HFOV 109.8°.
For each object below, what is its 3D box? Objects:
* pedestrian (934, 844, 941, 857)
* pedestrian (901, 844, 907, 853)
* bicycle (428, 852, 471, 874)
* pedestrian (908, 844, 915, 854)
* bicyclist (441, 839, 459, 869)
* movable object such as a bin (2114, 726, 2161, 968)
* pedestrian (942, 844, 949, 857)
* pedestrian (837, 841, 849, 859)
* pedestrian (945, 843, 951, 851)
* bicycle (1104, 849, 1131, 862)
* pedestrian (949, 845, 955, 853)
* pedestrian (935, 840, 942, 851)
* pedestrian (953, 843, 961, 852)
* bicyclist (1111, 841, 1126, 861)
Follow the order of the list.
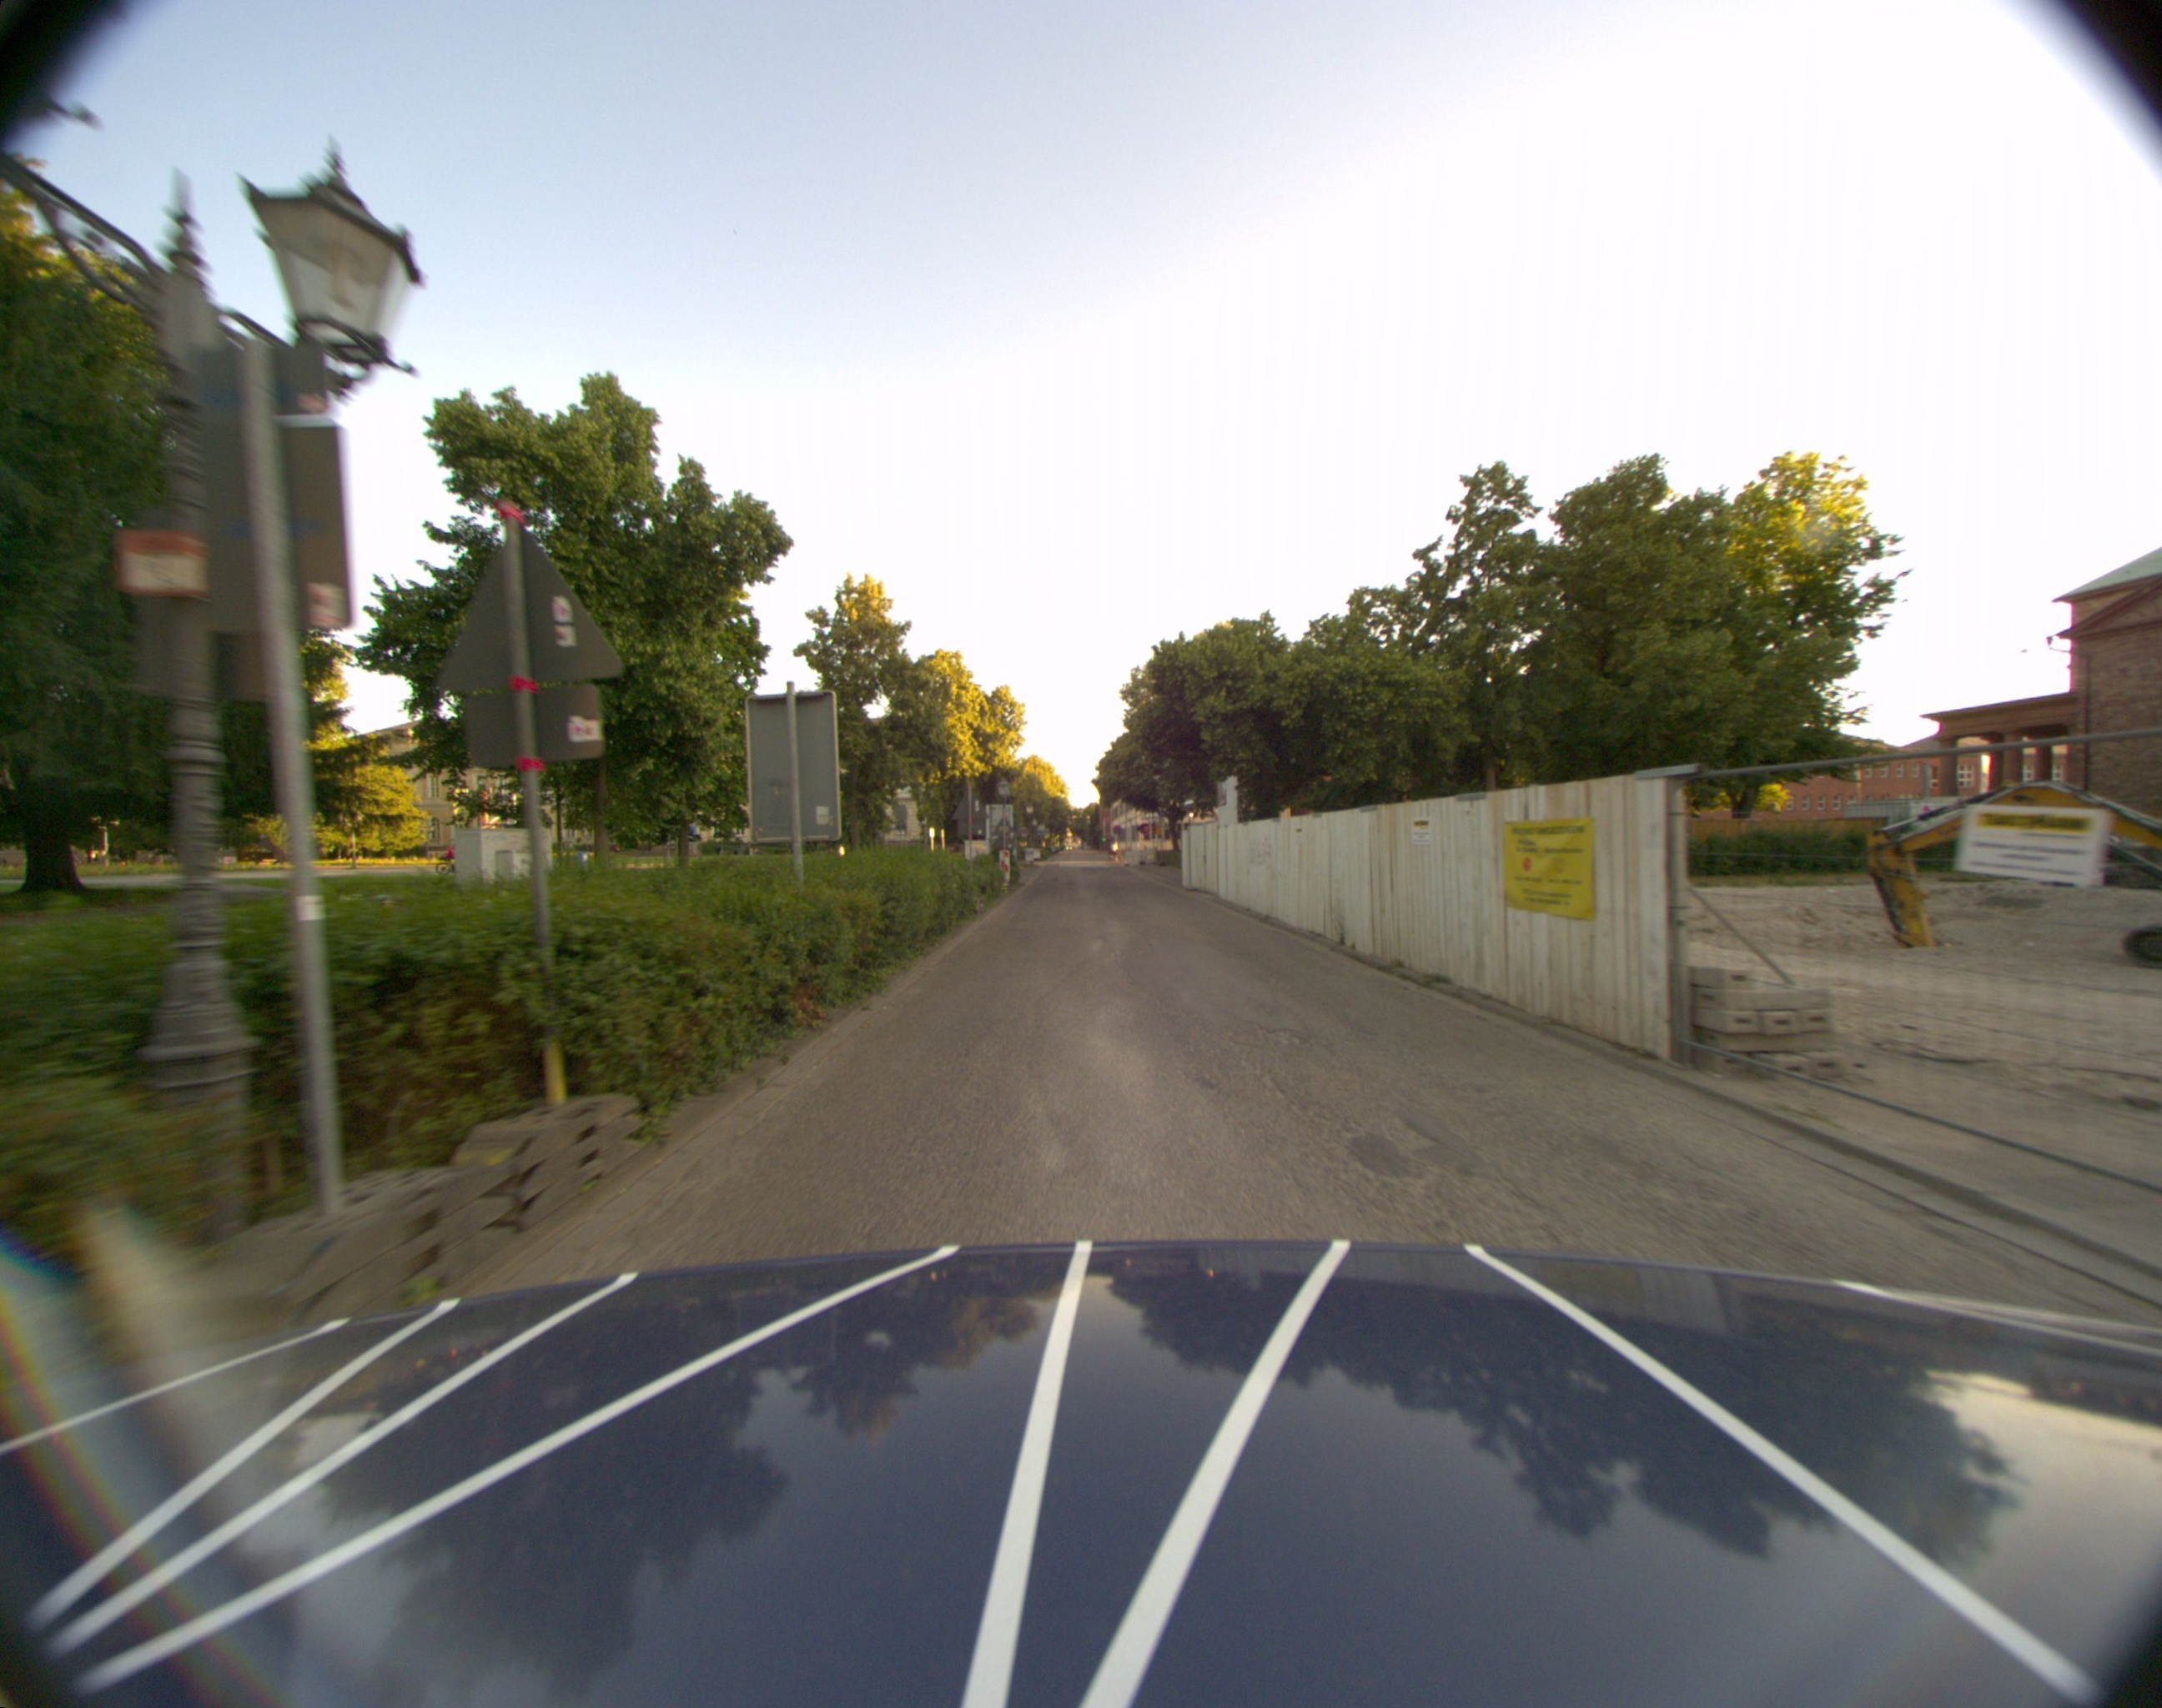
[{"bbox_3d":[-13.342,-0.325,70.718,0.528,1.197,0.969,-1,1,-6],"label":"pedestrian"},{"bbox_3d":[-21.142,-0.648,90.763,0.394,1.103,0.605,1,2,44],"label":"pedestrian"},{"bbox_3d":[-35.364,0.483,42.591,1.778,1.170,0.564,-1,2,-35],"label":"bicycle"},{"bbox_3d":[-20.423,-0.627,91.486,0.605,1.195,0.394,-2,2,-41],"label":"pedestrian"},{"bbox_3d":[-35.359,-0.014,42.577,0.678,1.623,0.657,-1,2,-35],"label":"bicyclist"},{"bbox_3d":[12.949,-0.075,7.529,2.161,2.588,2.742,-1,2,-23],"label":"movable object such as a bin"},{"bbox_3d":[-12.654,-0.324,70.967,0.608,1.197,0.666,-1,1,-6],"label":"pedestrian"},{"bbox_3d":[-21.530,-0.389,68.834,0.859,1.617,0.757,0,1,-3],"label":"pedestrian"},{"bbox_3d":[-16.282,-0.835,92.867,0.605,1.045,0.394,-1,2,-34],"label":"pedestrian"},{"bbox_3d":[3.220,0.135,67.182,2.339,1.175,0.655,0,2,25],"label":"bicycle"},{"bbox_3d":[-15.700,-0.614,92.658,0.605,1.045,0.394,-1,2,-37],"label":"pedestrian"},{"bbox_3d":[-19.077,-1.111,101.733,0.754,1.436,0.816,-1,2,-35],"label":"pedestrian"},{"bbox_3d":[-15.274,-0.778,93.478,0.798,1.045,0.394,-1,2,-37],"label":"pedestrian"},{"bbox_3d":[3.308,-0.246,67.136,1.057,1.793,0.674,0,1,25],"label":"bicyclist"}]
